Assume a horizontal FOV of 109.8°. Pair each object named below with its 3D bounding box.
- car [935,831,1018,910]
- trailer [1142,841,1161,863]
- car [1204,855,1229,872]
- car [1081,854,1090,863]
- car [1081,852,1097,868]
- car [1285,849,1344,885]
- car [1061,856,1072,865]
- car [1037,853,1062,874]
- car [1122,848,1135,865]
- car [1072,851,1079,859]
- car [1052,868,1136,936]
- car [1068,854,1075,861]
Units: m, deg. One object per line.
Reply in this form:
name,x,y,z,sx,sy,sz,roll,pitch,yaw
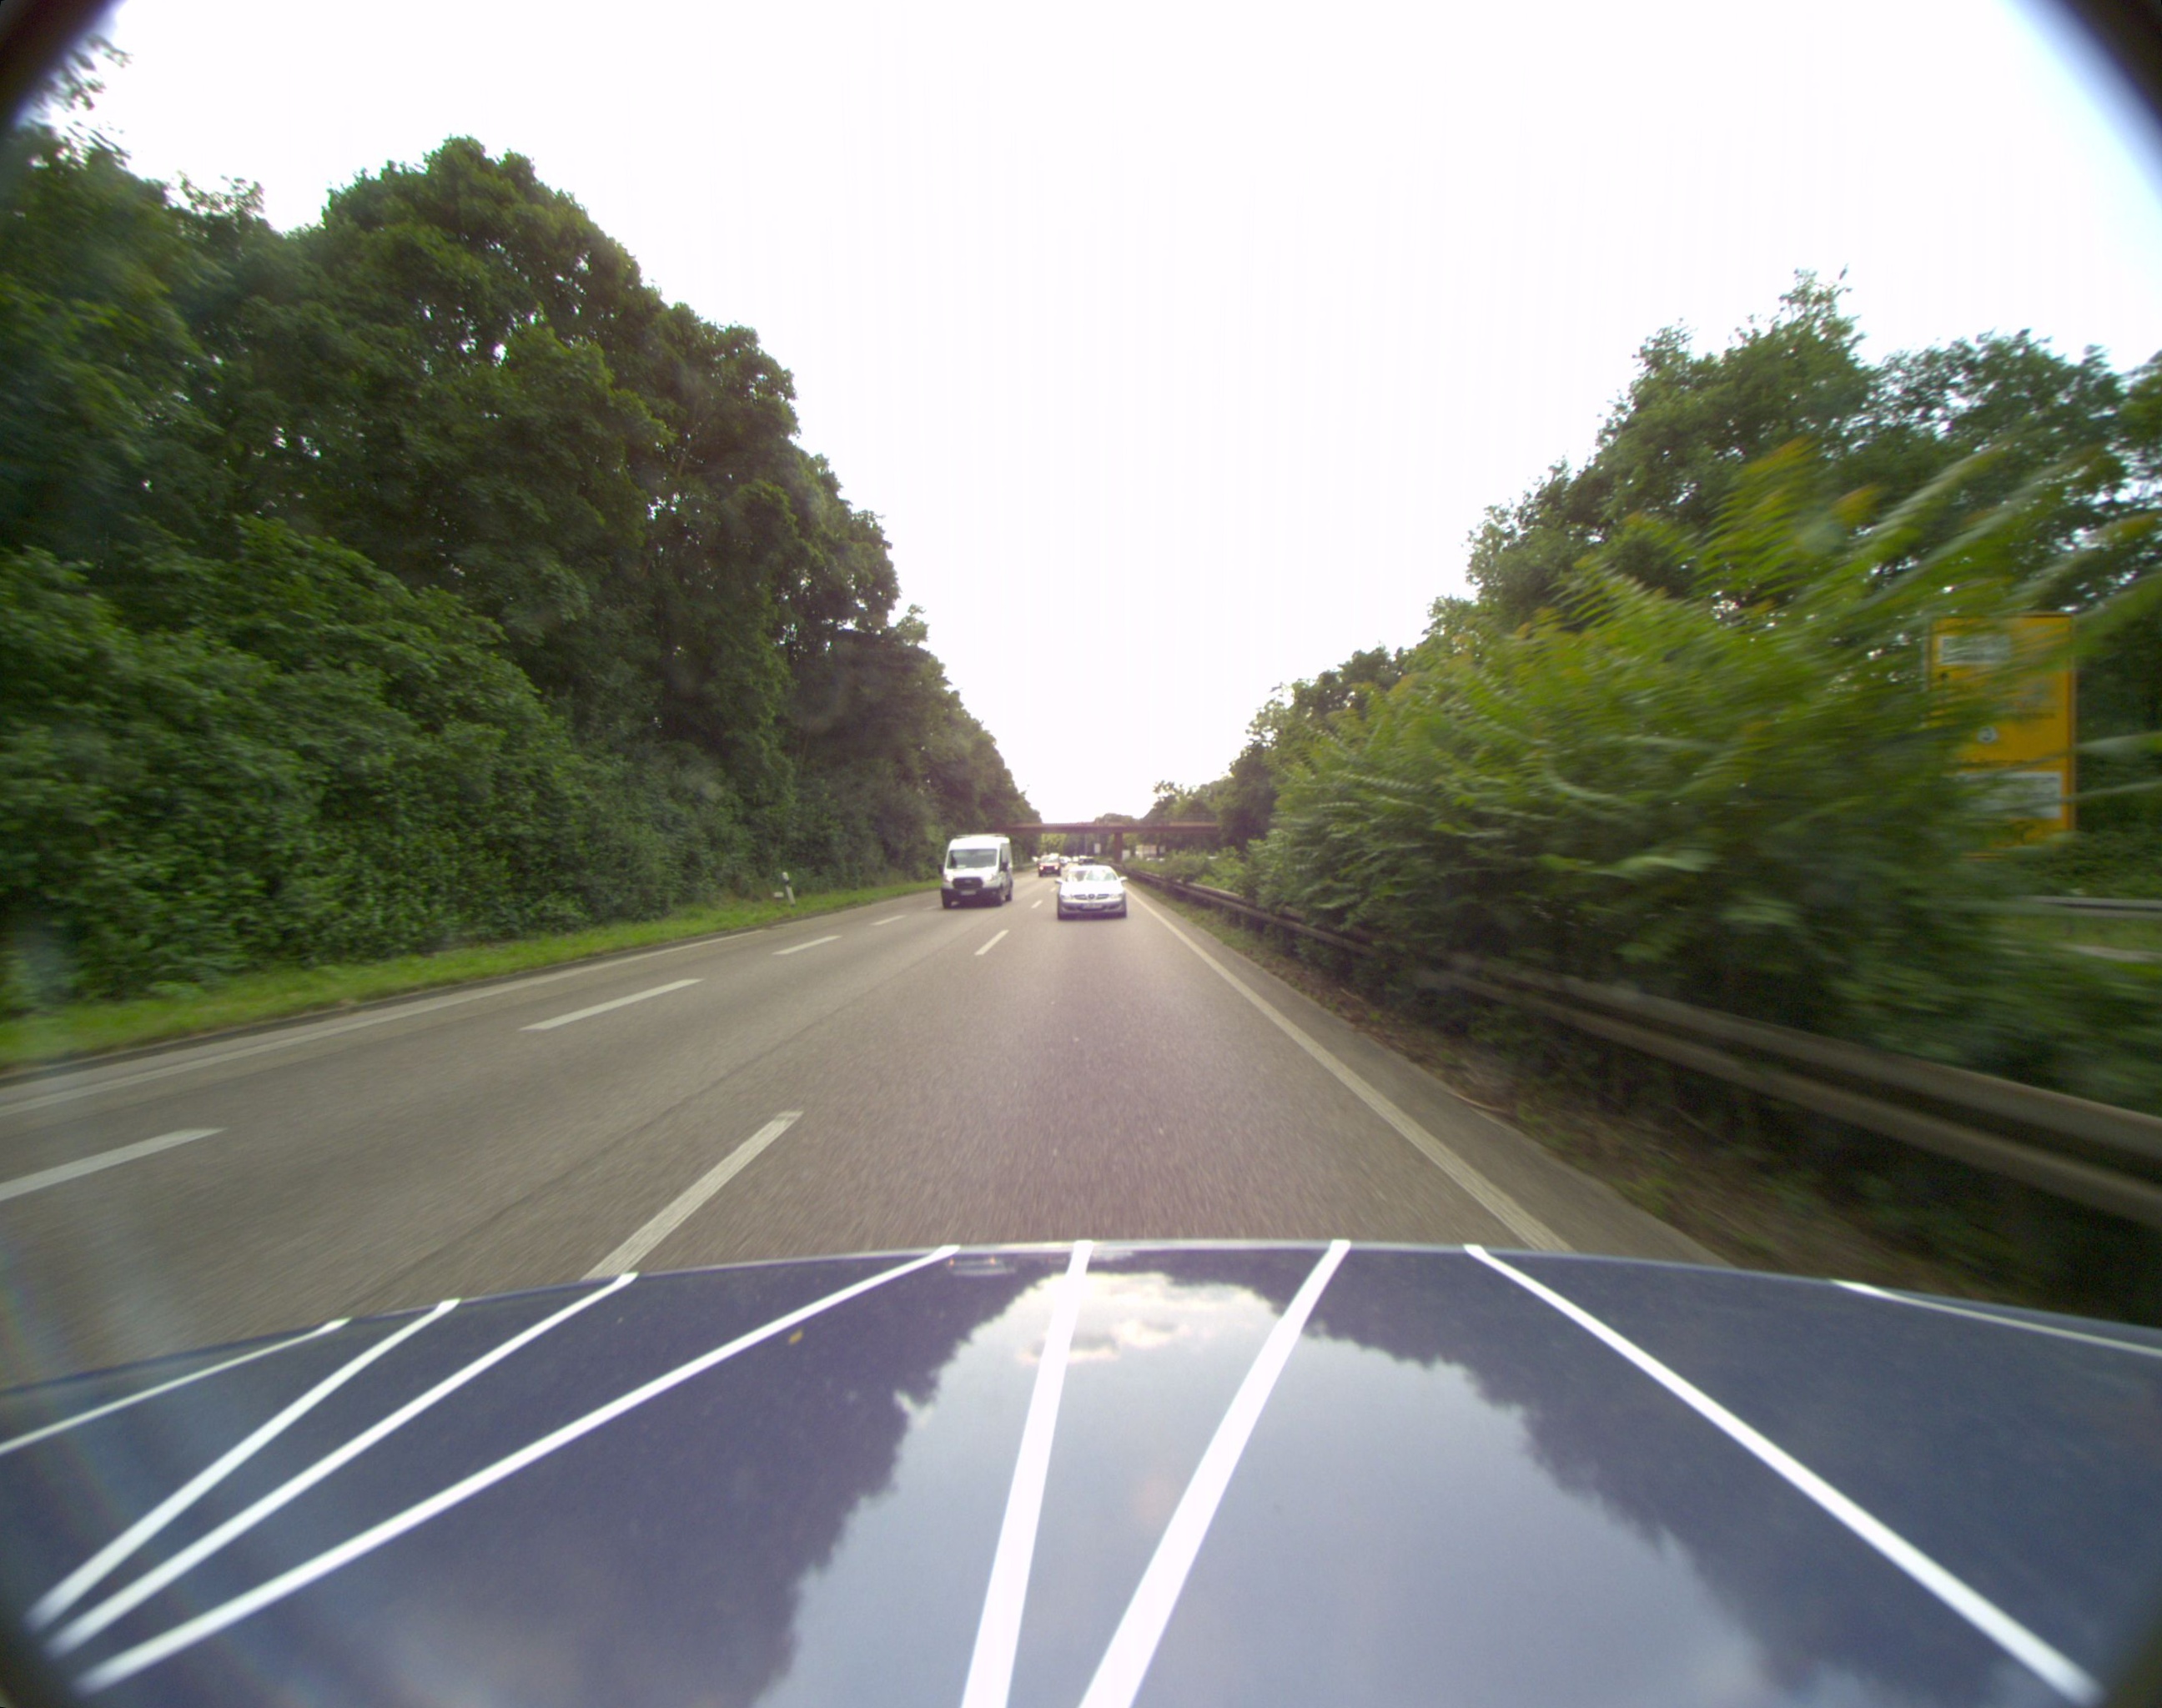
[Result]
car,-3.624,0.529,27.374,2.104,2.493,5.279,-2,0,1
trailer,13.589,-0.426,147.007,3.067,4.018,9.975,0,0,2
car,14.094,0.989,79.108,1.832,1.651,4.595,-2,0,1
car,0.714,0.727,130.160,1.472,1.560,3.295,0,0,1
car,1.035,0.734,96.667,1.998,2.002,4.000,0,0,1
car,12.675,0.654,41.494,1.998,1.858,4.277,0,0,1
car,-2.476,1.060,130.935,1.889,1.516,4.000,0,0,1
car,-2.807,0.832,67.574,1.908,1.795,4.395,-2,0,1
car,9.235,0.520,148.695,2.294,3.213,7.287,0,0,1
car,-1.464,0.264,204.393,1.724,2.002,4.001,0,0,3
car,0.289,1.077,18.763,1.751,1.295,5.223,-2,0,0
car,-2.910,1.106,236.050,1.998,2.002,4.000,-1,0,1
